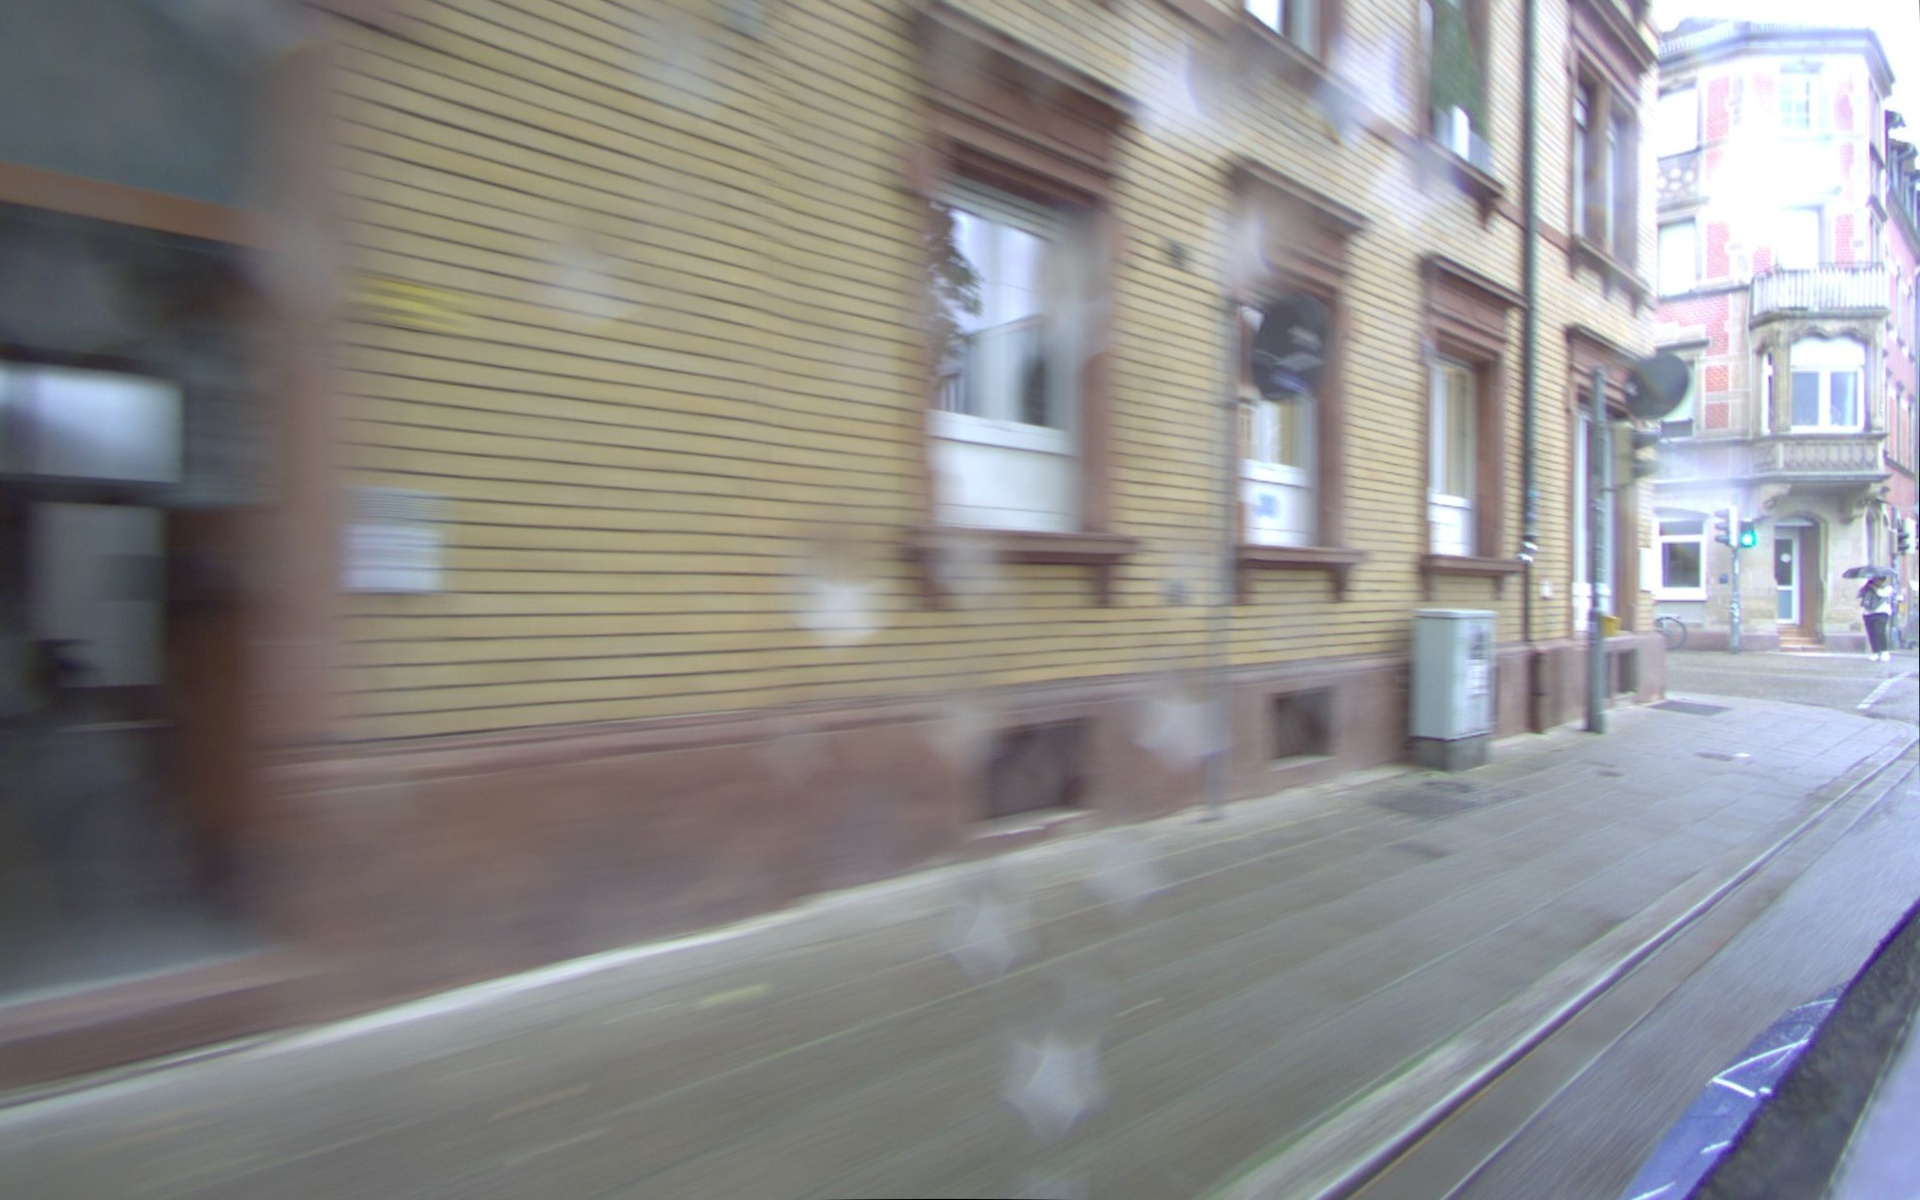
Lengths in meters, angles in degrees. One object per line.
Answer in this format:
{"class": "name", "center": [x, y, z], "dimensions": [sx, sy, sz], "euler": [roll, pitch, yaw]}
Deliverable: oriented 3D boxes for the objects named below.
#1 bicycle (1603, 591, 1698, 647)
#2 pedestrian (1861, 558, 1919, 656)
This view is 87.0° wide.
{"class": "bicycle", "center": [15.870, 0.443, 23.288], "dimensions": [1.685, 1.237, 0.668], "euler": [-2, -1, 43]}
{"class": "pedestrian", "center": [19.150, 0.120, 20.783], "dimensions": [0.913, 1.937, 0.786], "euler": [-1, 3, -41]}
